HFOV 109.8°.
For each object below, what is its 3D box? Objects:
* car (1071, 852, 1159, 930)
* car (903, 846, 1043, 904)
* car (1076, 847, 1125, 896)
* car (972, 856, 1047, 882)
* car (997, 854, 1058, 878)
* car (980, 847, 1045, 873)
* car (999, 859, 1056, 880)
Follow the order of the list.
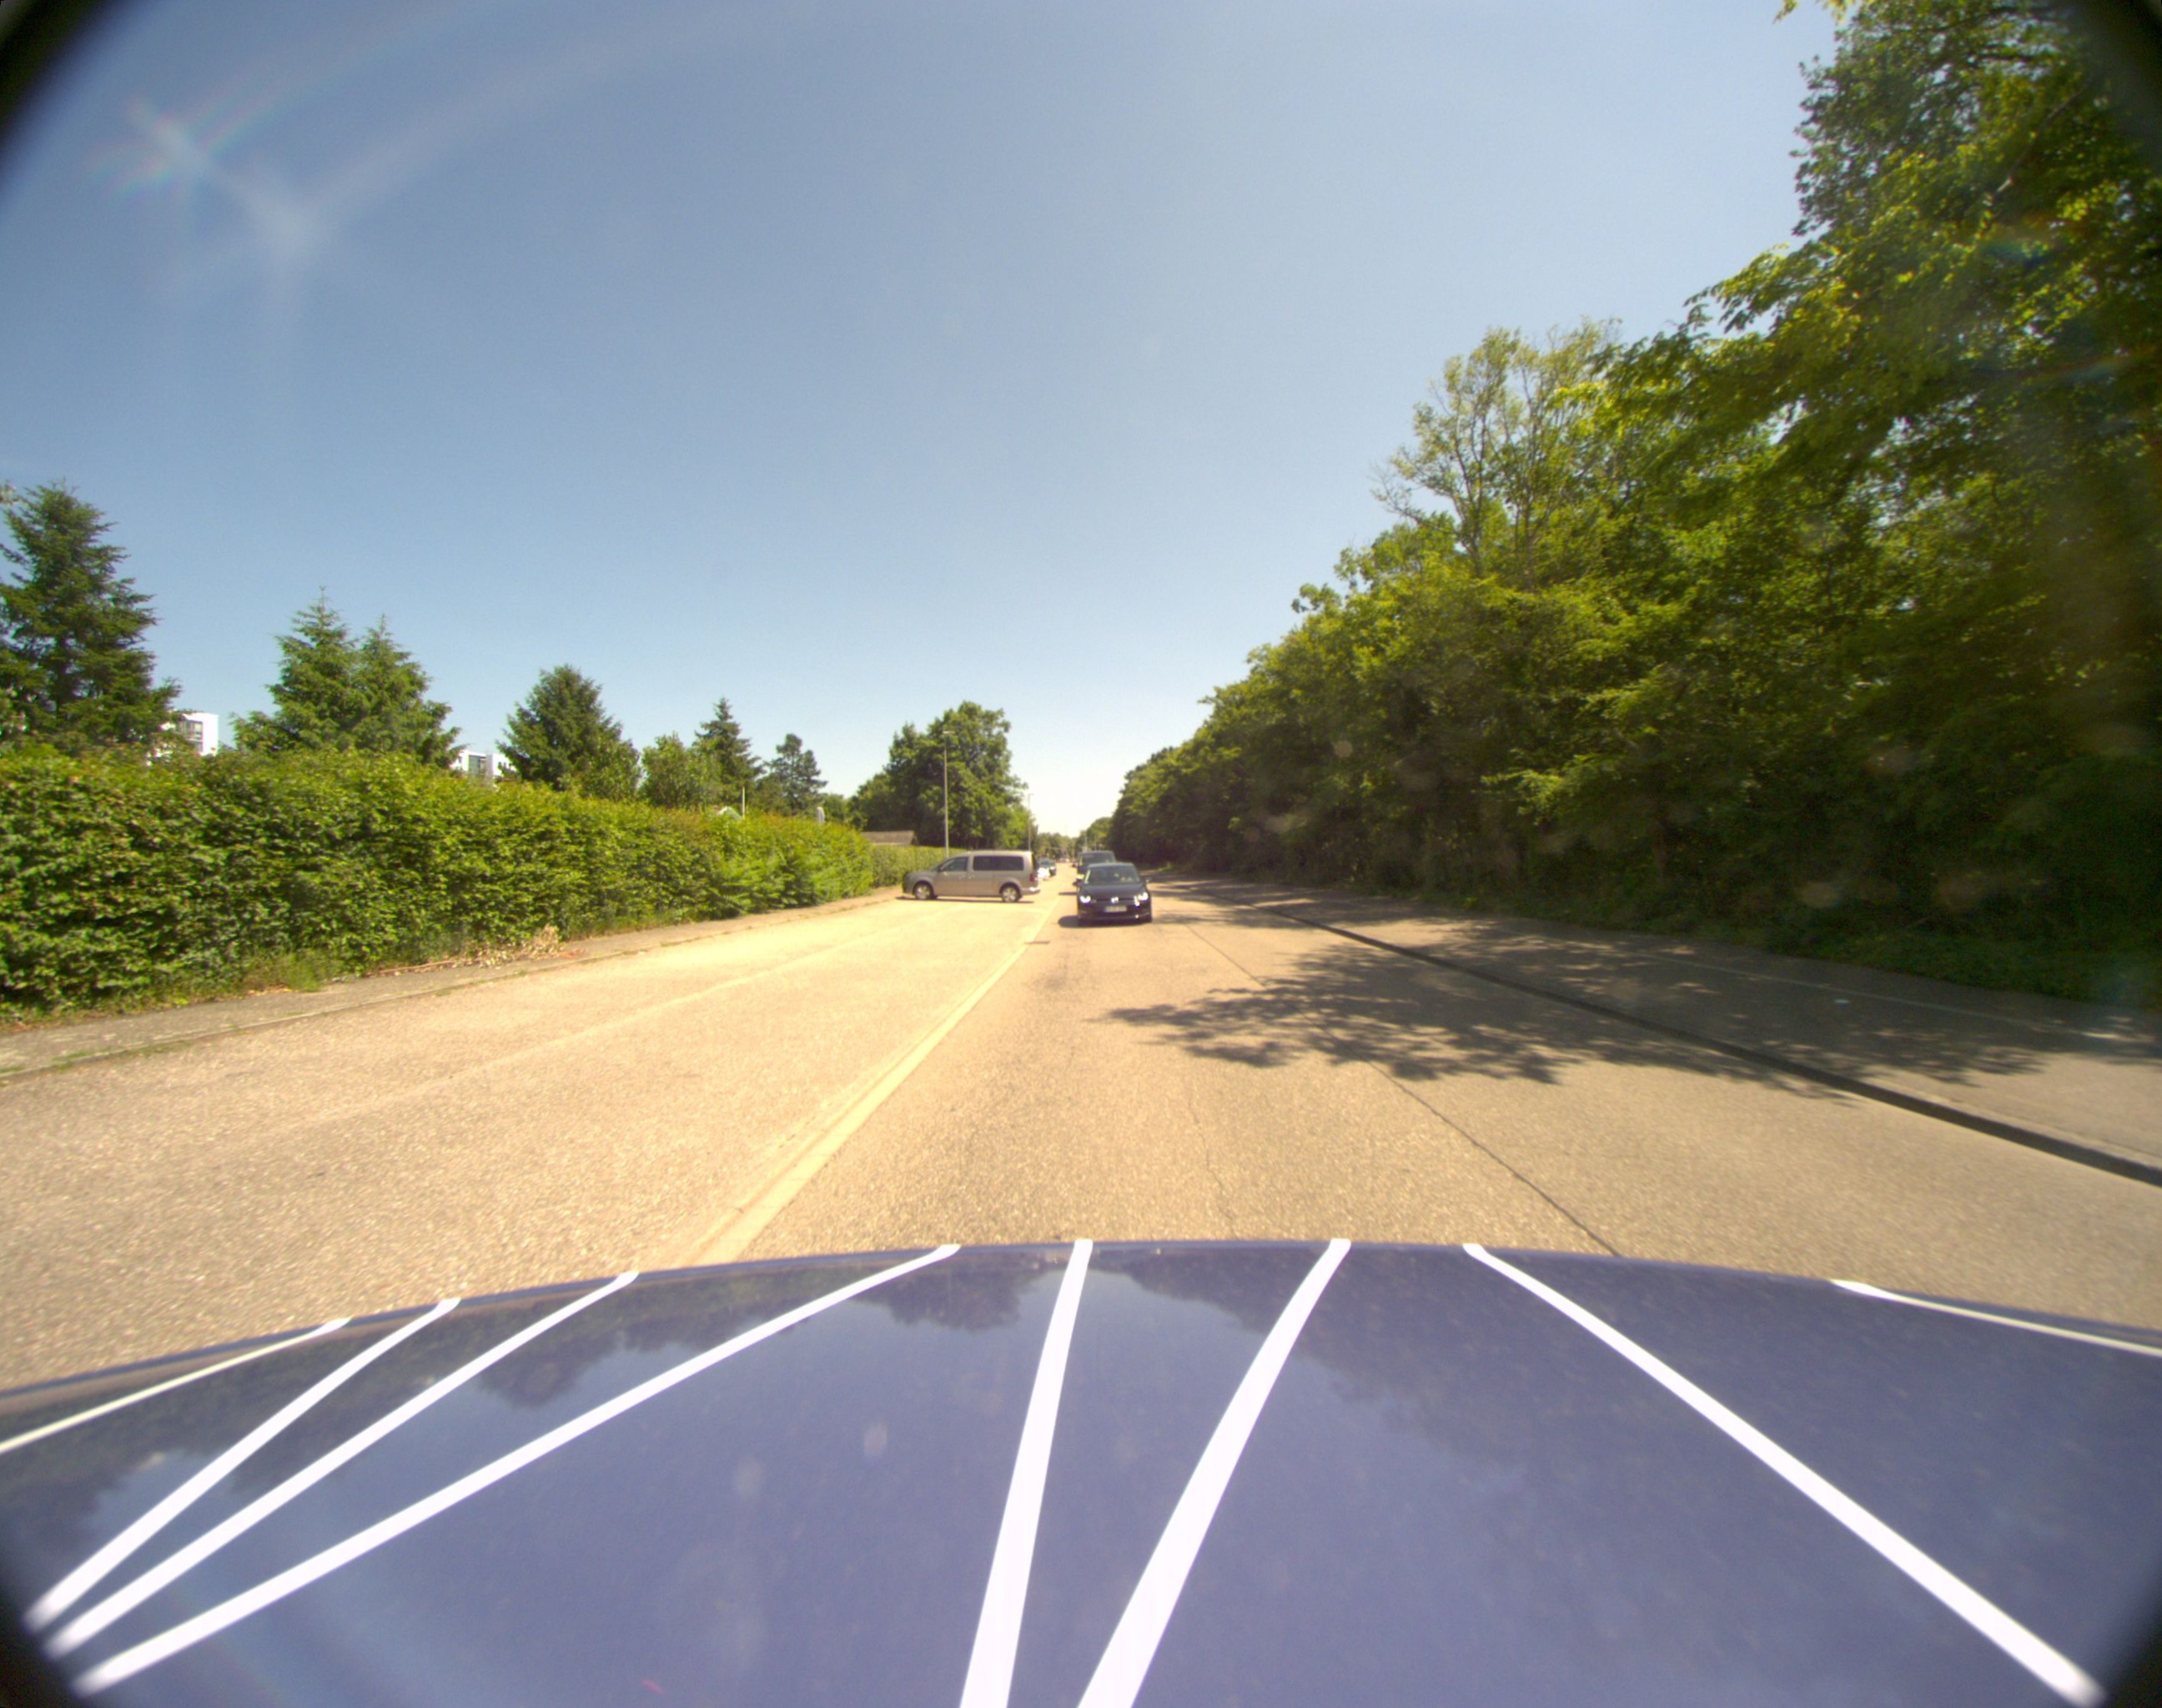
[{"bbox_3d":[0.833,0.854,19.377,1.887,1.667,4.663,-3,-1,2],"label":"car"},{"bbox_3d":[-3.776,0.732,27.180,4.632,1.837,1.996,2,0,1],"label":"car"},{"bbox_3d":[0.794,0.719,34.052,2.001,1.965,4.450,-2,0,-1],"label":"car"},{"bbox_3d":[-4.514,0.937,48.315,4.571,1.431,1.960,2,0,-4],"label":"car"},{"bbox_3d":[-4.089,0.915,58.545,4.482,1.694,1.913,2,0,-1],"label":"car"},{"bbox_3d":[-4.767,0.409,53.277,4.268,1.688,1.853,2,0,0],"label":"car"},{"bbox_3d":[-3.871,1.122,55.716,4.007,1.444,1.831,-2,1,-1],"label":"car"}]
